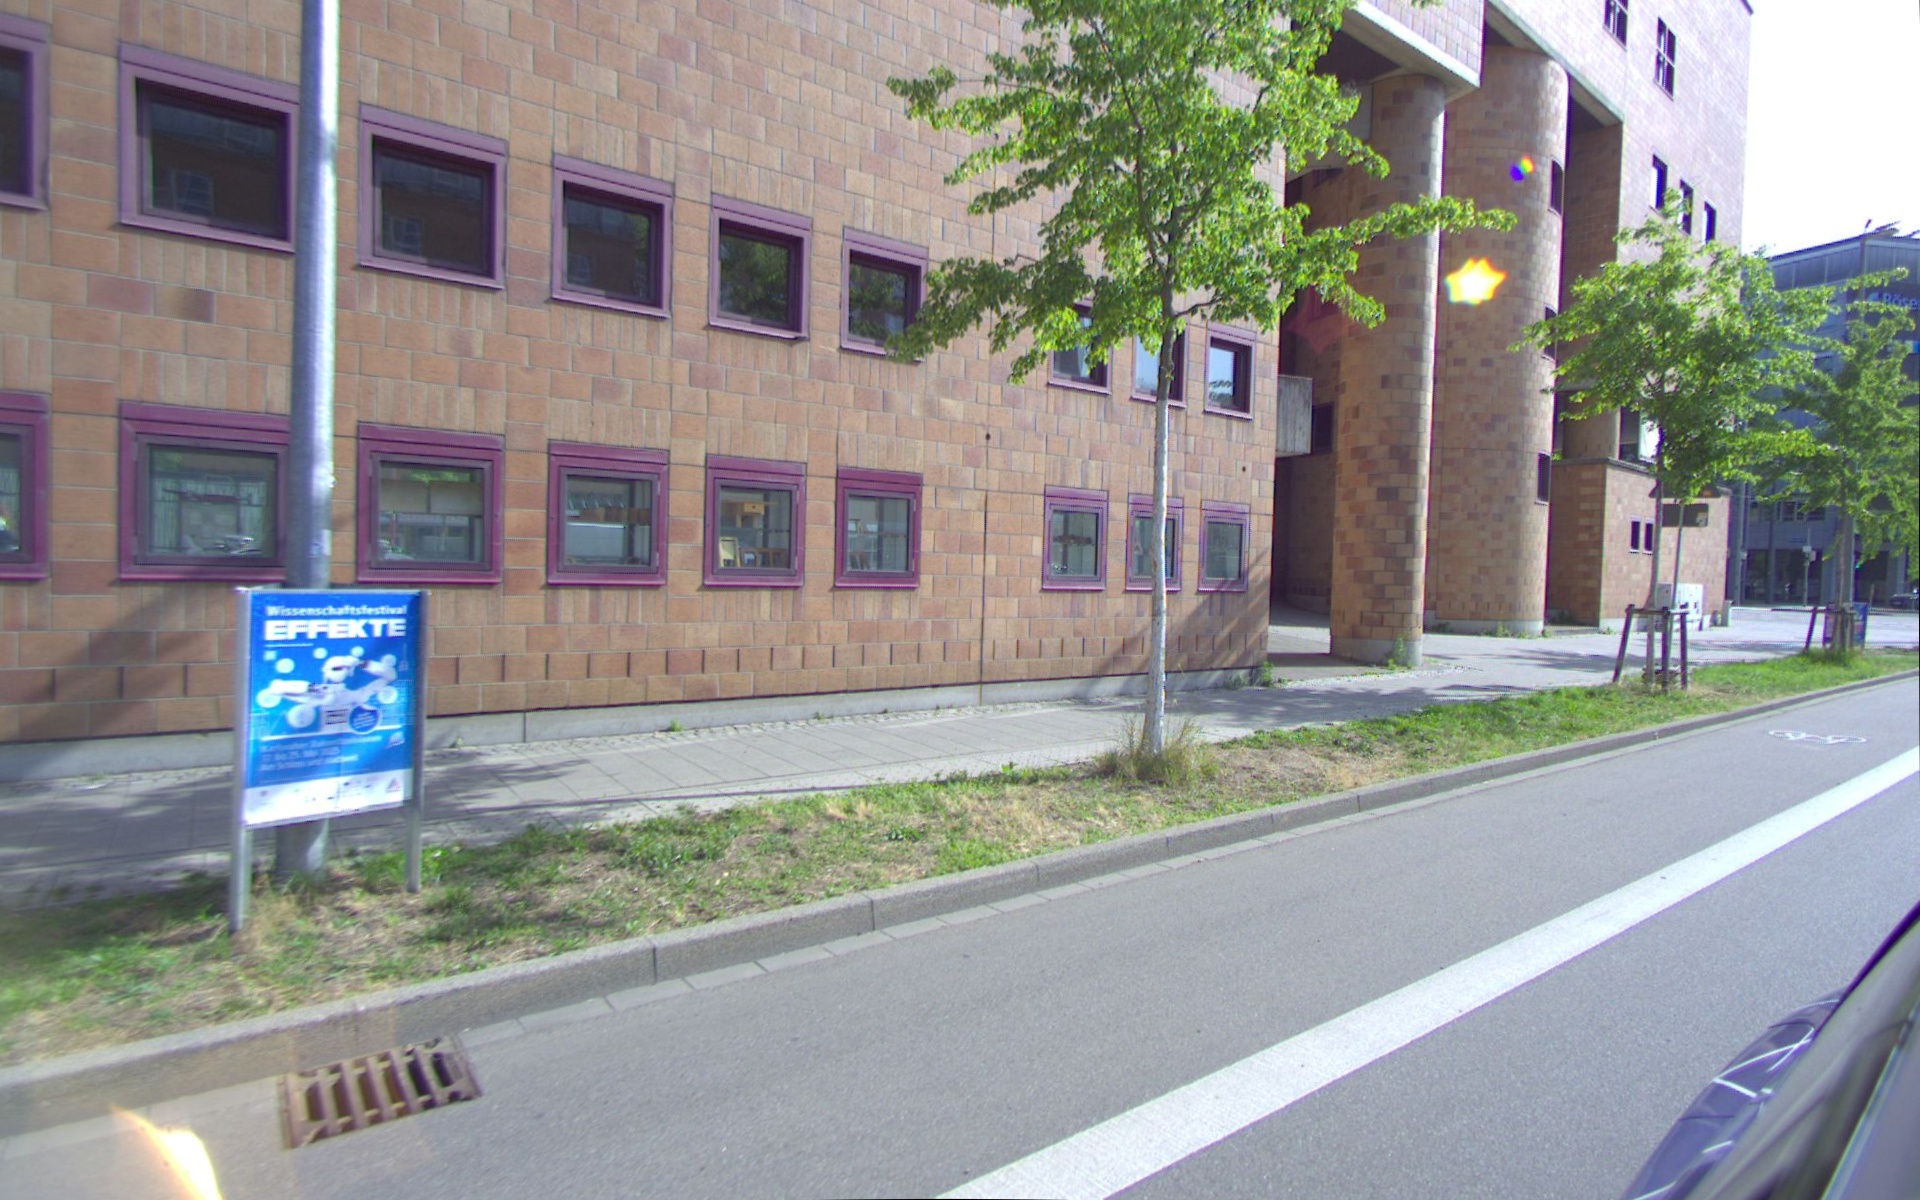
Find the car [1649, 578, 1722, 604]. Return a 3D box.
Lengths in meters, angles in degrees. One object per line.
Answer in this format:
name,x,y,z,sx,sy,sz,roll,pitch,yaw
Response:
car,49.497,-0.654,69.155,3.975,1.548,1.975,3,3,35

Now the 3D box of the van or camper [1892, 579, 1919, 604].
van or camper,59.314,-0.453,60.995,4.144,1.459,1.996,2,2,9
